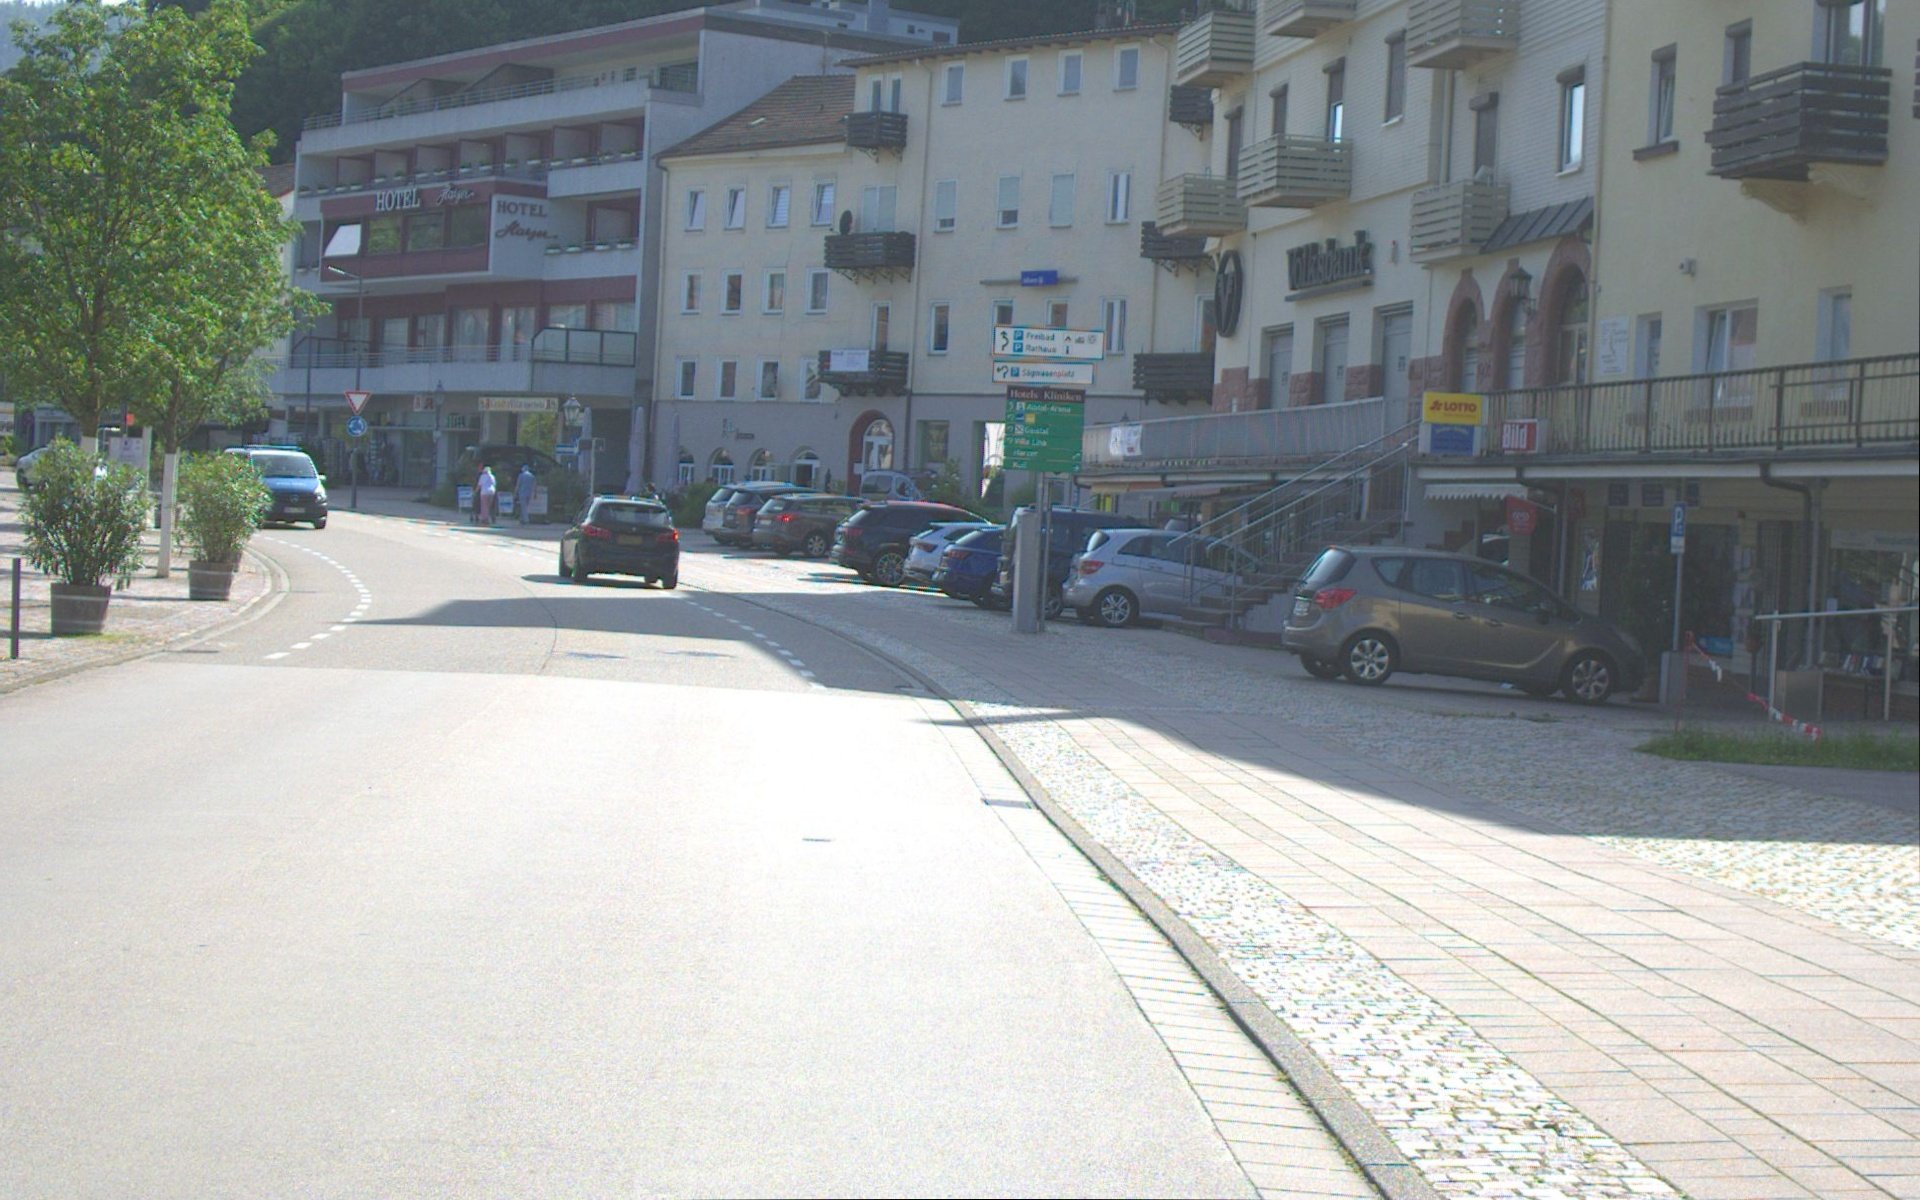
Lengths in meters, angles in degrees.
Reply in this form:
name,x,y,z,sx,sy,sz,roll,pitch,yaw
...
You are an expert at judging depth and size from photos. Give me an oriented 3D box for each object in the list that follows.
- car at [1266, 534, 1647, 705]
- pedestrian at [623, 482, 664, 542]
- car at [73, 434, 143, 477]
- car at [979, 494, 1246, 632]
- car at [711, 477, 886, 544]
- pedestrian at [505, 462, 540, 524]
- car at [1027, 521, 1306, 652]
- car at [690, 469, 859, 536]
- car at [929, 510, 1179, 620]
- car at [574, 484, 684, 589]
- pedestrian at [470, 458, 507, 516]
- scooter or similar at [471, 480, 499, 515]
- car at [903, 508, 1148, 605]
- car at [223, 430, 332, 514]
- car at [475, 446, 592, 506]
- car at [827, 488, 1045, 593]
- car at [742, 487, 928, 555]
name,x,y,z,sx,sy,sz,roll,pitch,yaw
car,5.691,0.213,39.603,3.858,1.549,1.761,5,1,-10
pedestrian,-7.721,-2.156,83.873,0.735,1.437,0.633,0,3,-38
car,-36.664,-6.227,147.877,1.676,1.615,4.001,3,2,-32
car,2.461,-0.613,55.955,3.909,1.798,1.858,6,1,-7
car,-3.971,-2.202,84.525,3.860,1.544,1.773,0,4,-28
pedestrian,-12.438,-3.043,97.797,0.668,1.722,0.708,3,2,-30
car,3.175,-0.224,53.246,3.909,1.583,1.775,6,2,-8
car,-4.705,-2.481,87.344,3.860,1.607,1.773,0,4,-28
car,1.582,-0.607,58.578,3.909,1.456,1.736,5,1,-7
car,-5.878,-1.147,60.751,1.727,1.569,3.754,4,3,-7
pedestrian,-13.431,-3.227,97.913,0.757,1.588,0.628,3,2,-30
scooter or similar,-13.537,-2.913,98.068,0.596,0.947,0.474,3,2,-30
car,1.218,-0.822,65.095,4.356,1.456,1.773,5,0,-5
car,-16.858,-3.160,84.784,1.854,1.946,5.019,1,2,-20
car,-13.288,-3.865,107.135,3.163,1.657,1.595,3,2,-28
car,-0.510,-1.218,69.929,4.083,1.660,1.773,6,1,-7
car,-2.955,-1.878,81.575,4.009,1.511,1.773,0,4,-28
